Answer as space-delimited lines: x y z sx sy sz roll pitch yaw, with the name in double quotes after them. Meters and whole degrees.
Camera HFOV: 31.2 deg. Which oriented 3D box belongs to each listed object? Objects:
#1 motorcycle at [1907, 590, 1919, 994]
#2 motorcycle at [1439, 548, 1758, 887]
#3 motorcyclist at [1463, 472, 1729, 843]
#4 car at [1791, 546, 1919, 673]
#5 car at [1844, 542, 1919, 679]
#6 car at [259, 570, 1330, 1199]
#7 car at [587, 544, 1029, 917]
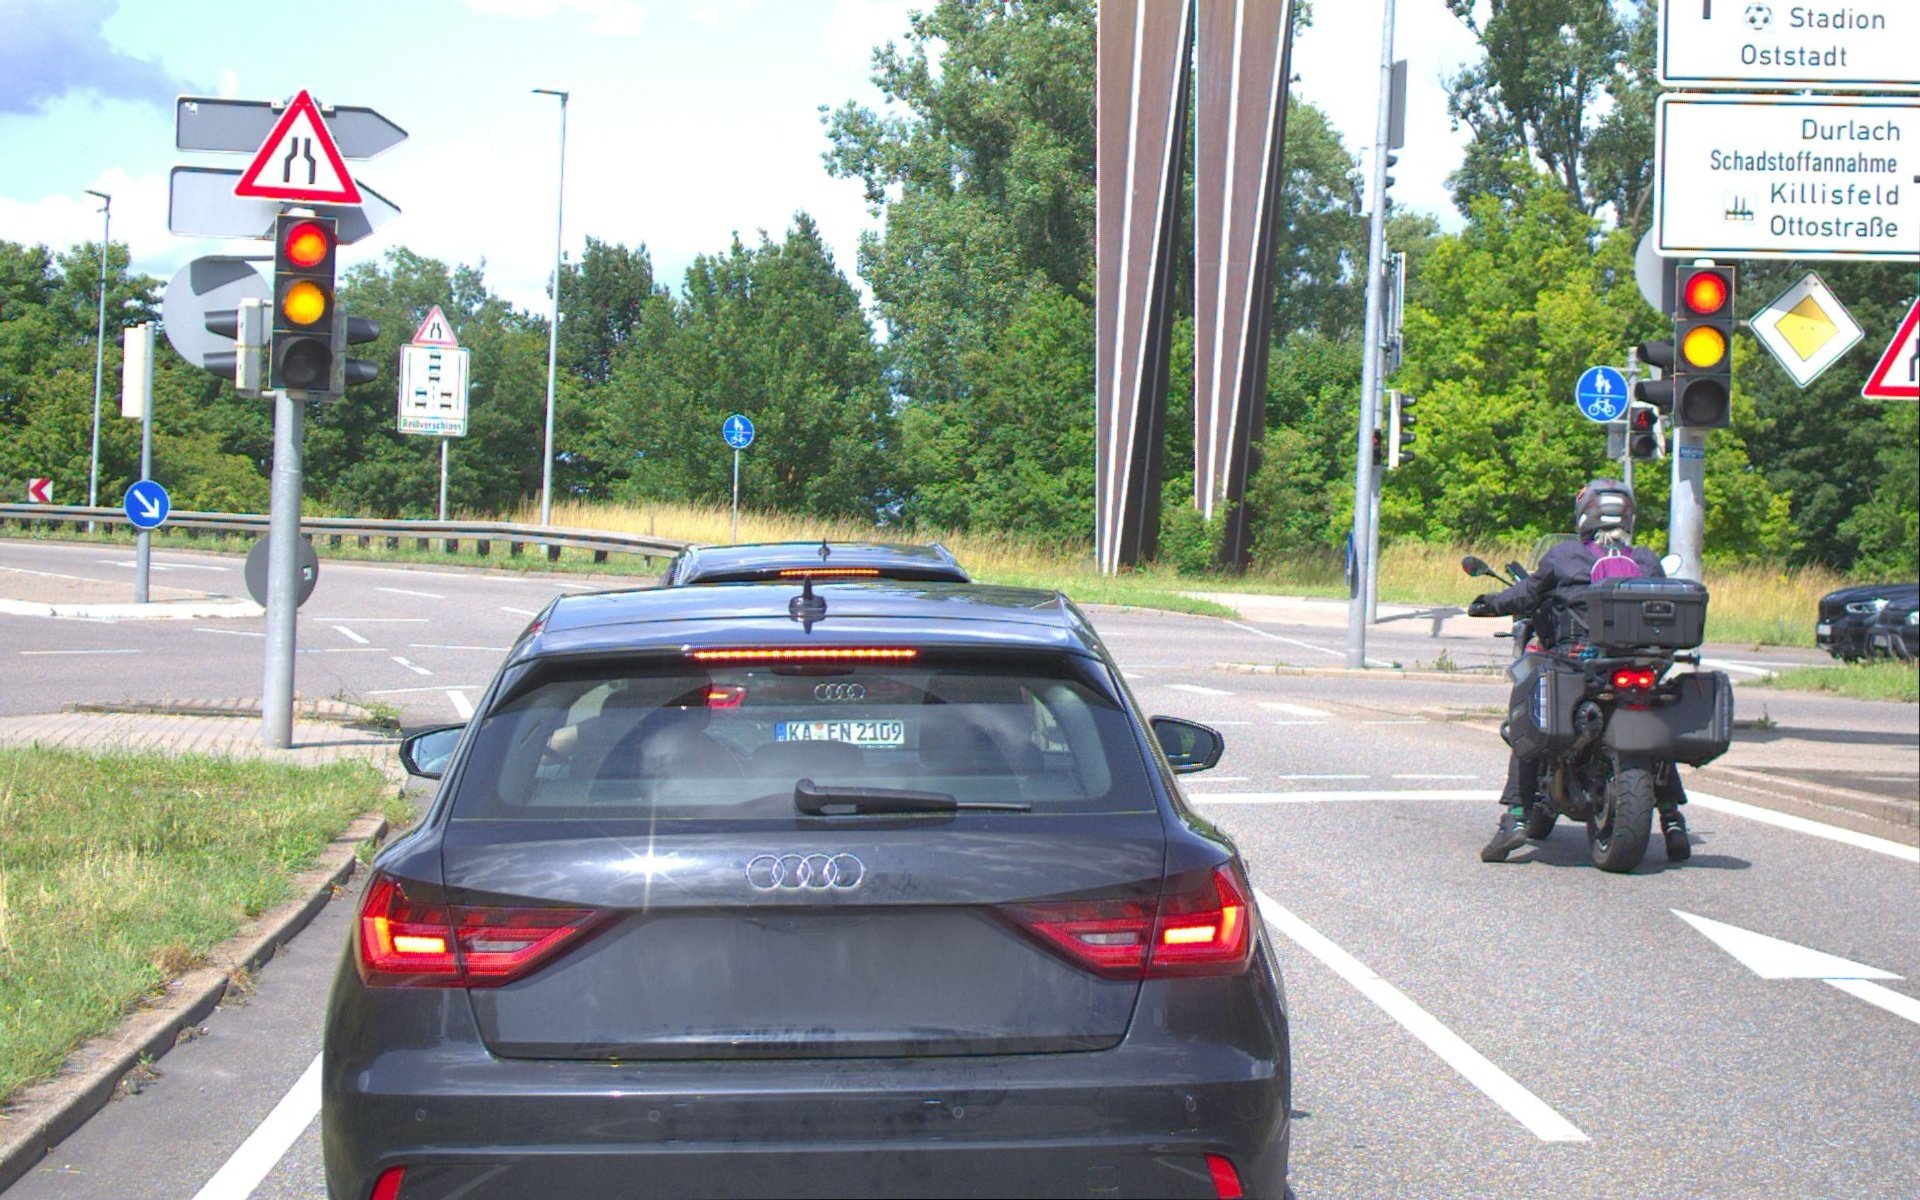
3.645 0.653 10.350 0.865 1.384 2.370 2 2 -1 "motorcycle"
2.829 0.474 15.538 0.936 1.378 2.370 1 1 -1 "motorcycle"
2.839 0.239 15.454 0.936 1.585 1.083 1 1 -1 "motorcyclist"
13.242 0.164 43.750 4.847 1.539 1.737 2 1 -1 "car"
12.652 0.163 39.897 4.268 1.539 1.737 2 1 -1 "car"
-0.289 0.666 7.555 1.726 1.399 4.000 0 1 -1 "car"
-0.745 0.474 15.354 1.726 1.418 3.845 0 1 -5 "car"
